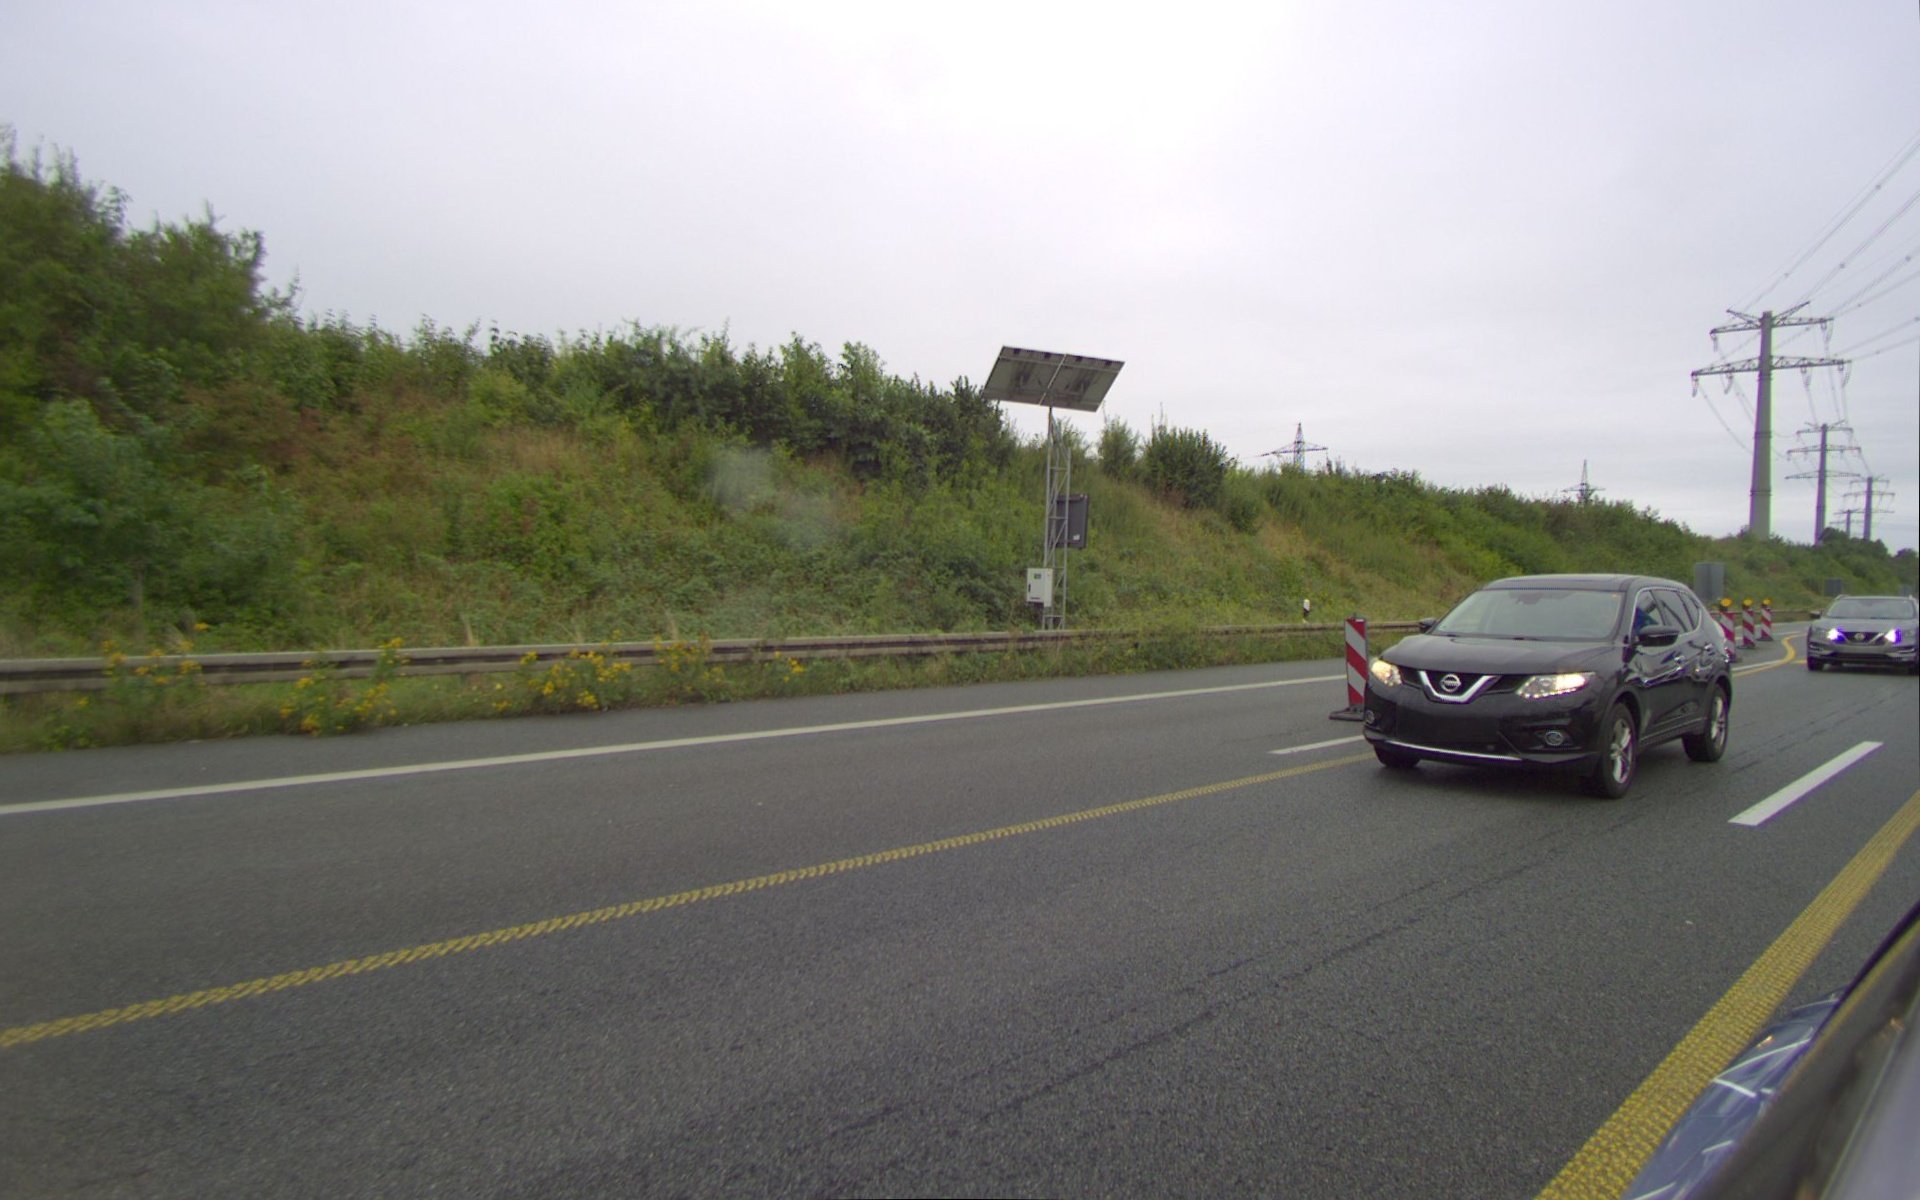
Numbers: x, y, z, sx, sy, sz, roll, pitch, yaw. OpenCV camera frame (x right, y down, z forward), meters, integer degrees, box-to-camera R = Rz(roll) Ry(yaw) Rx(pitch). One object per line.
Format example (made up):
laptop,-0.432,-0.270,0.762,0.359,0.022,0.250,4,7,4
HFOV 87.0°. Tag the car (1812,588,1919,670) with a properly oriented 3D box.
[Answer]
car,19.297,0.535,21.118,4.079,1.552,1.802,0,1,-42

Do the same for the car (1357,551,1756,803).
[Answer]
car,5.295,0.494,8.749,4.205,1.679,1.688,0,1,-40
